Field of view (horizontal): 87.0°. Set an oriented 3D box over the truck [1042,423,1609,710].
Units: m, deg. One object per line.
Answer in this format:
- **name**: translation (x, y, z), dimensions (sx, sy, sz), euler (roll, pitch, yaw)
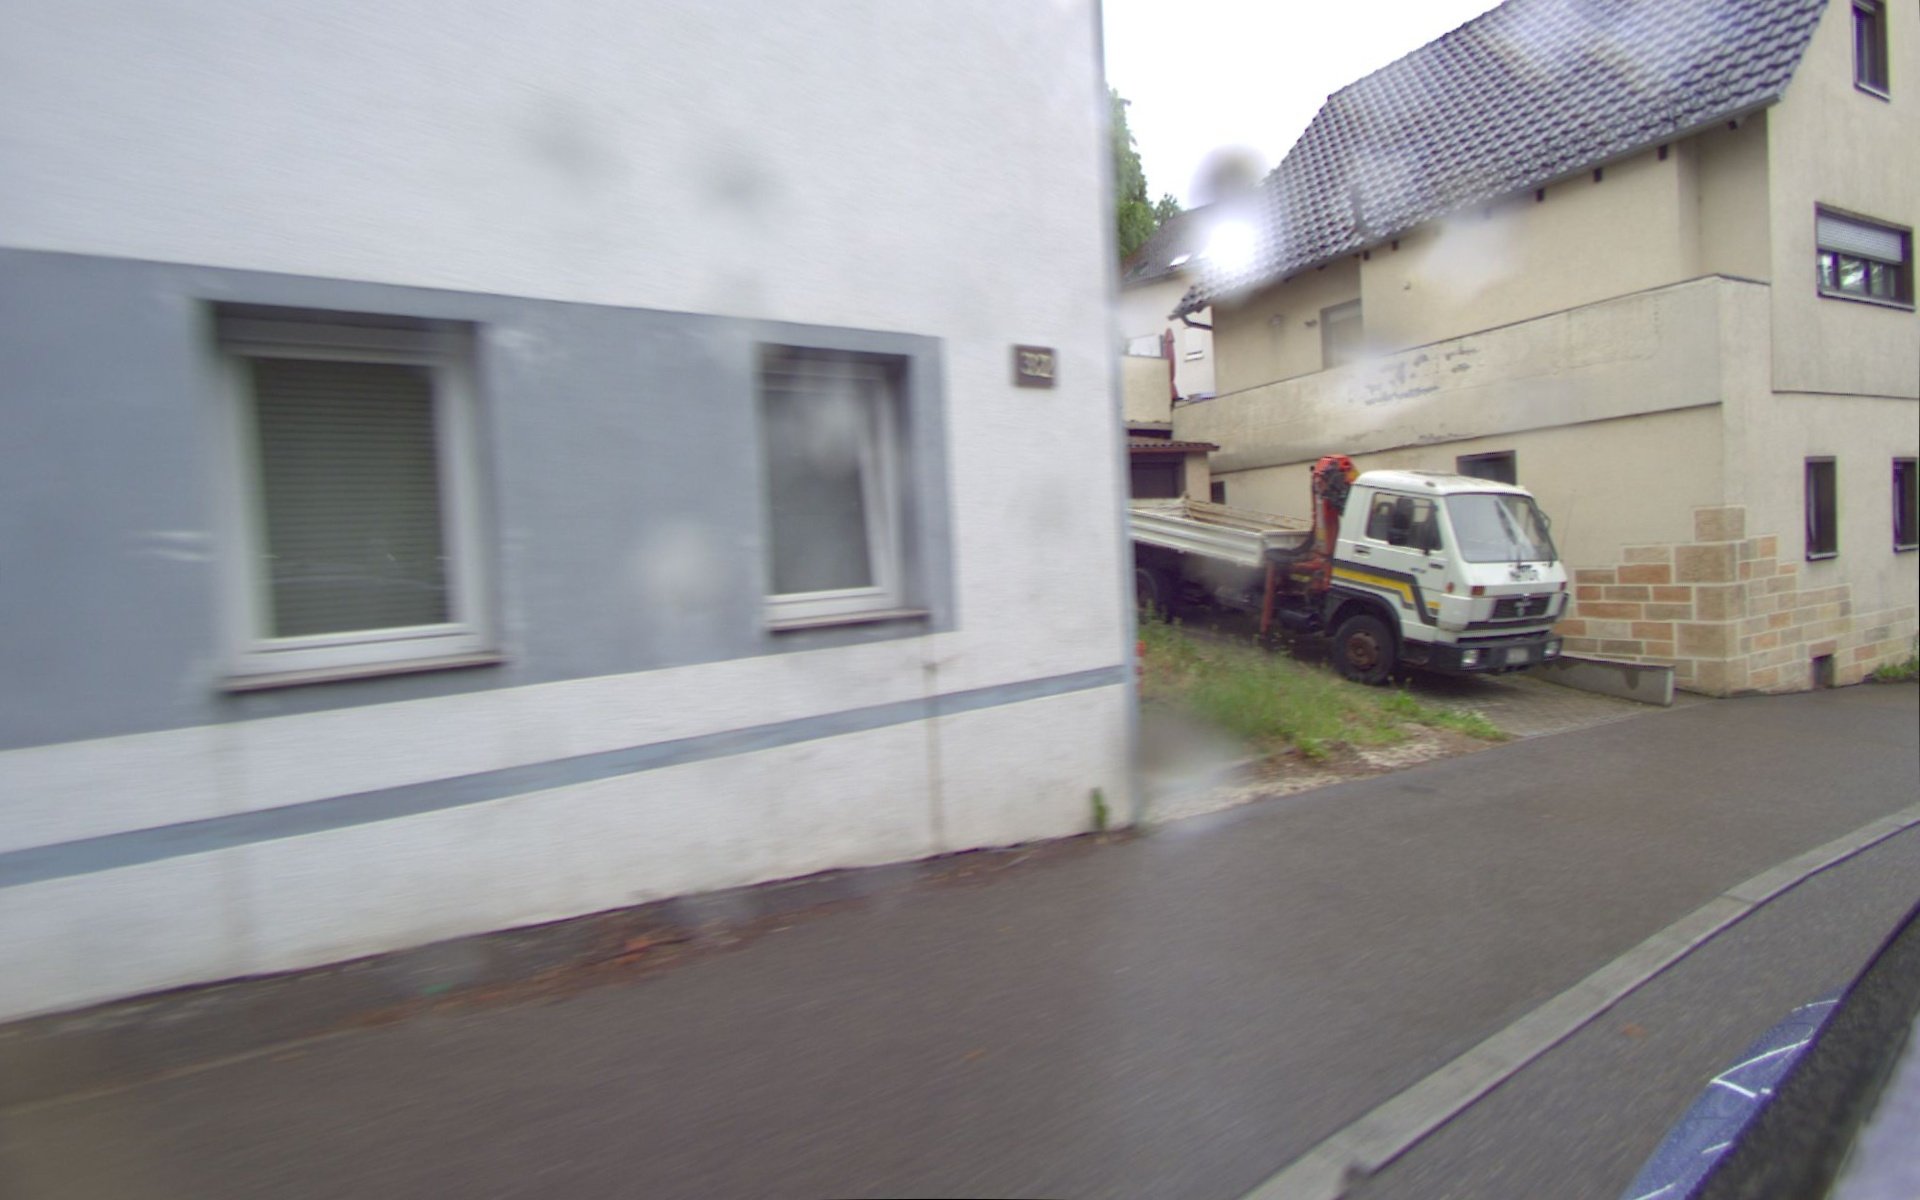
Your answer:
- **truck**: translation (4.068, -0.615, 13.169), dimensions (2.098, 2.734, 6.989), euler (1, 5, -32)
